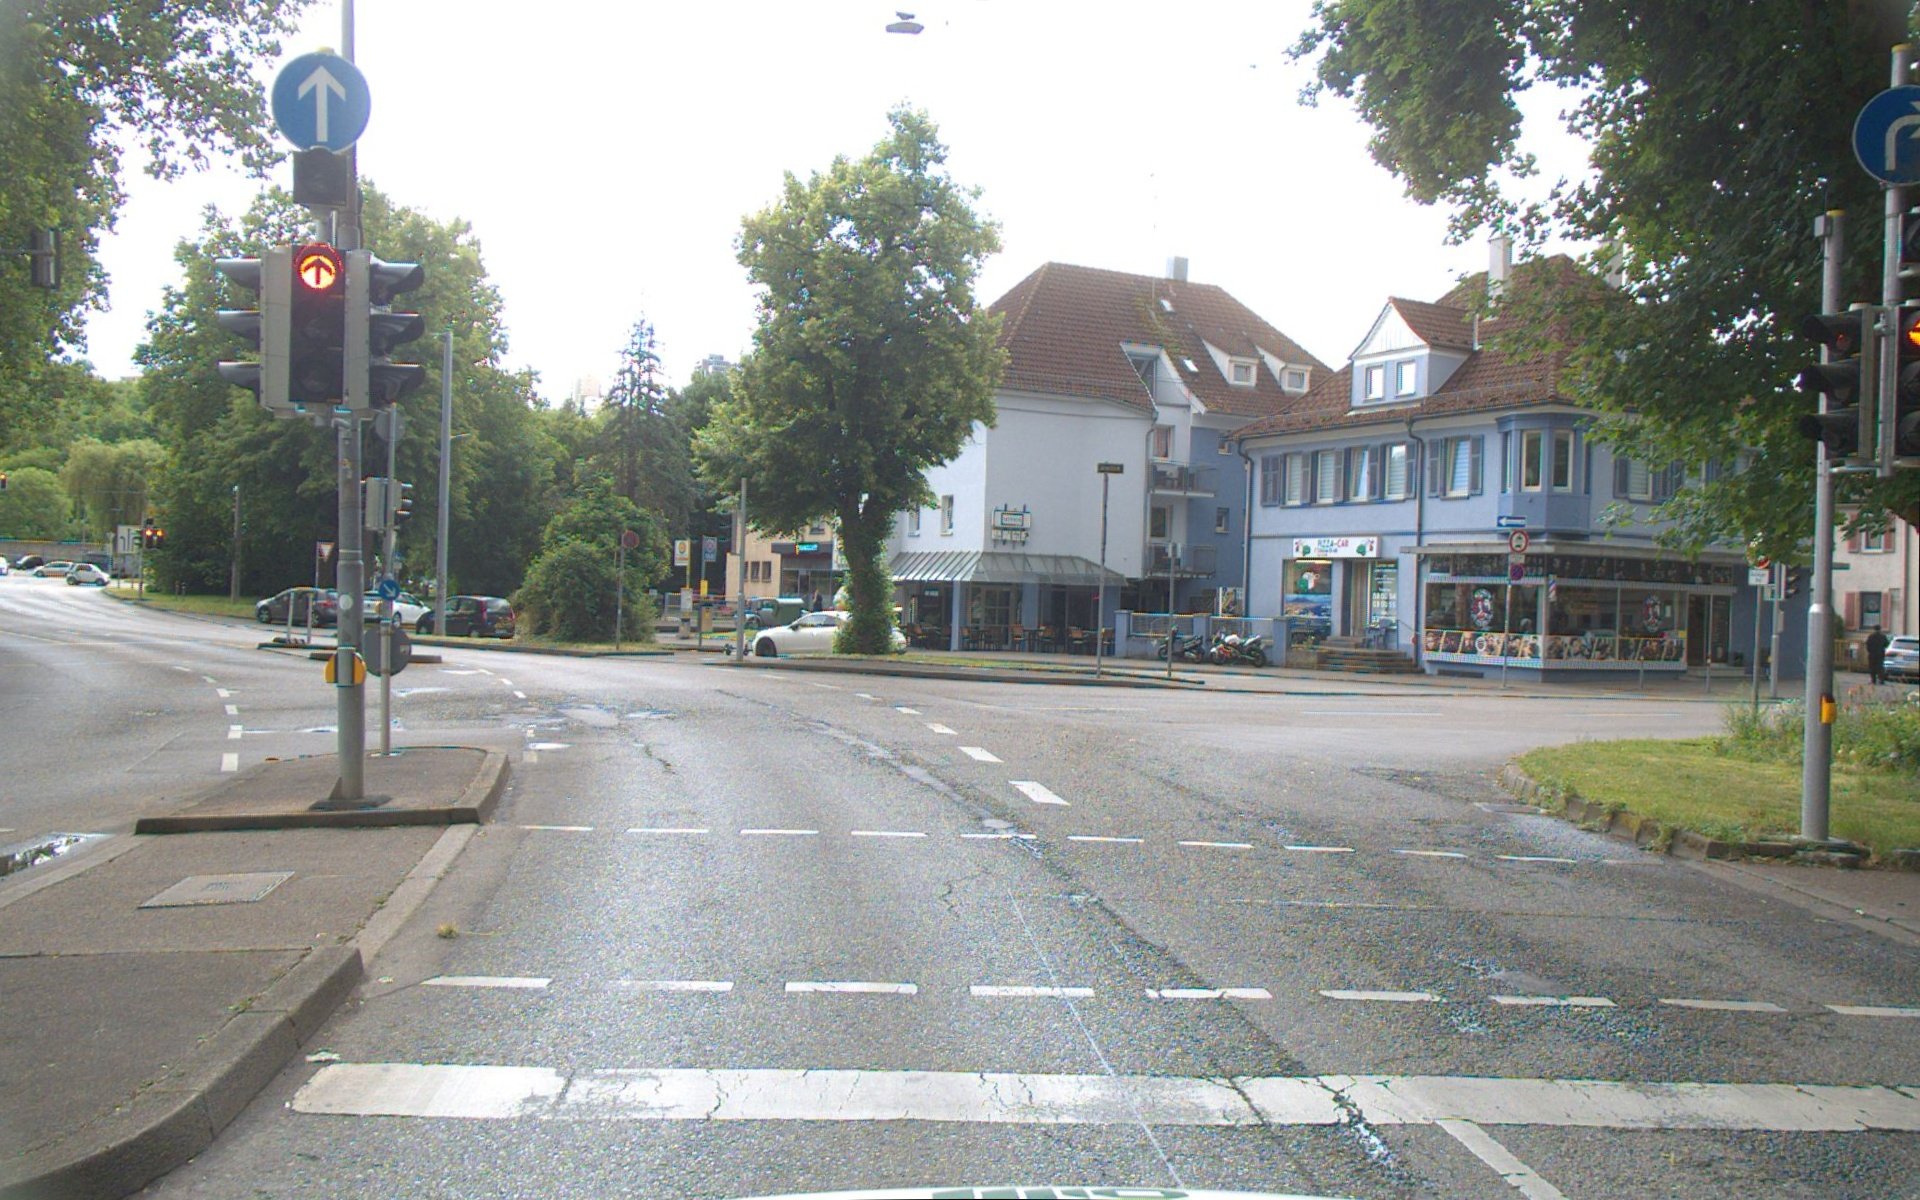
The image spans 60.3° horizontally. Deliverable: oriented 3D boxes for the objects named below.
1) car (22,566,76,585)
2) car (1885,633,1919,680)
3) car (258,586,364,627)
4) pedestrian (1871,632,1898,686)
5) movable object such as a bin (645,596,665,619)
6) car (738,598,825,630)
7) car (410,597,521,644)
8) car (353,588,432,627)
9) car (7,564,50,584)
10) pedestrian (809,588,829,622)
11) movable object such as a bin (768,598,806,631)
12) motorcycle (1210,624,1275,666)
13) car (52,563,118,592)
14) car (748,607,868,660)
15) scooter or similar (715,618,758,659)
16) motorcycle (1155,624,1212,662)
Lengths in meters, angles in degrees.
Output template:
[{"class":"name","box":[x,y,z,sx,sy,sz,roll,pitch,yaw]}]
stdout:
[{"class":"car","box":[-79.772,-2.159,144.920,3.936,1.578,1.854,1,0,-25]},{"class":"car","box":[29.852,1.735,51.417,1.471,1.393,3.164,1,0,38]},{"class":"car","box":[-24.859,0.245,63.397,3.469,1.490,1.586,1,0,12]},{"class":"pedestrian","box":[26.649,1.700,47.690,0.577,1.544,0.456,0,-1,44]},{"class":"movable object such as a bin","box":[-15.852,0.392,85.918,0.937,1.135,0.381,1,0,-22]},{"class":"car","box":[-8.157,0.639,75.736,3.690,1.368,1.421,1,0,-27]},{"class":"car","box":[-16.006,0.659,53.466,3.519,1.418,1.468,1,0,32]},{"class":"car","box":[-22.668,0.306,66.187,1.512,1.490,3.398,1,0,10]},{"class":"car","box":[-102.214,-2.832,181.494,3.948,2.049,1.978,1,0,-32]},{"class":"pedestrian","box":[-6.565,0.235,77.081,0.670,1.572,0.699,2,0,-35]},{"class":"movable object such as a bin","box":[-7.718,0.656,73.845,1.424,1.433,0.959,1,0,-27]},{"class":"motorcycle","box":[8.273,1.309,48.484,1.765,1.141,0.692,1,0,38]},{"class":"car","box":[-63.963,-1.641,120.998,3.923,2.049,1.855,1,0,-17]},{"class":"car","box":[-4.244,0.917,45.962,3.110,1.378,1.435,1,0,34]},{"class":"scooter or similar","box":[-5.730,0.982,42.545,0.408,1.029,1.567,1,0,20]},{"class":"motorcycle","box":[6.793,1.292,50.240,1.609,1.082,0.690,1,0,44]}]
